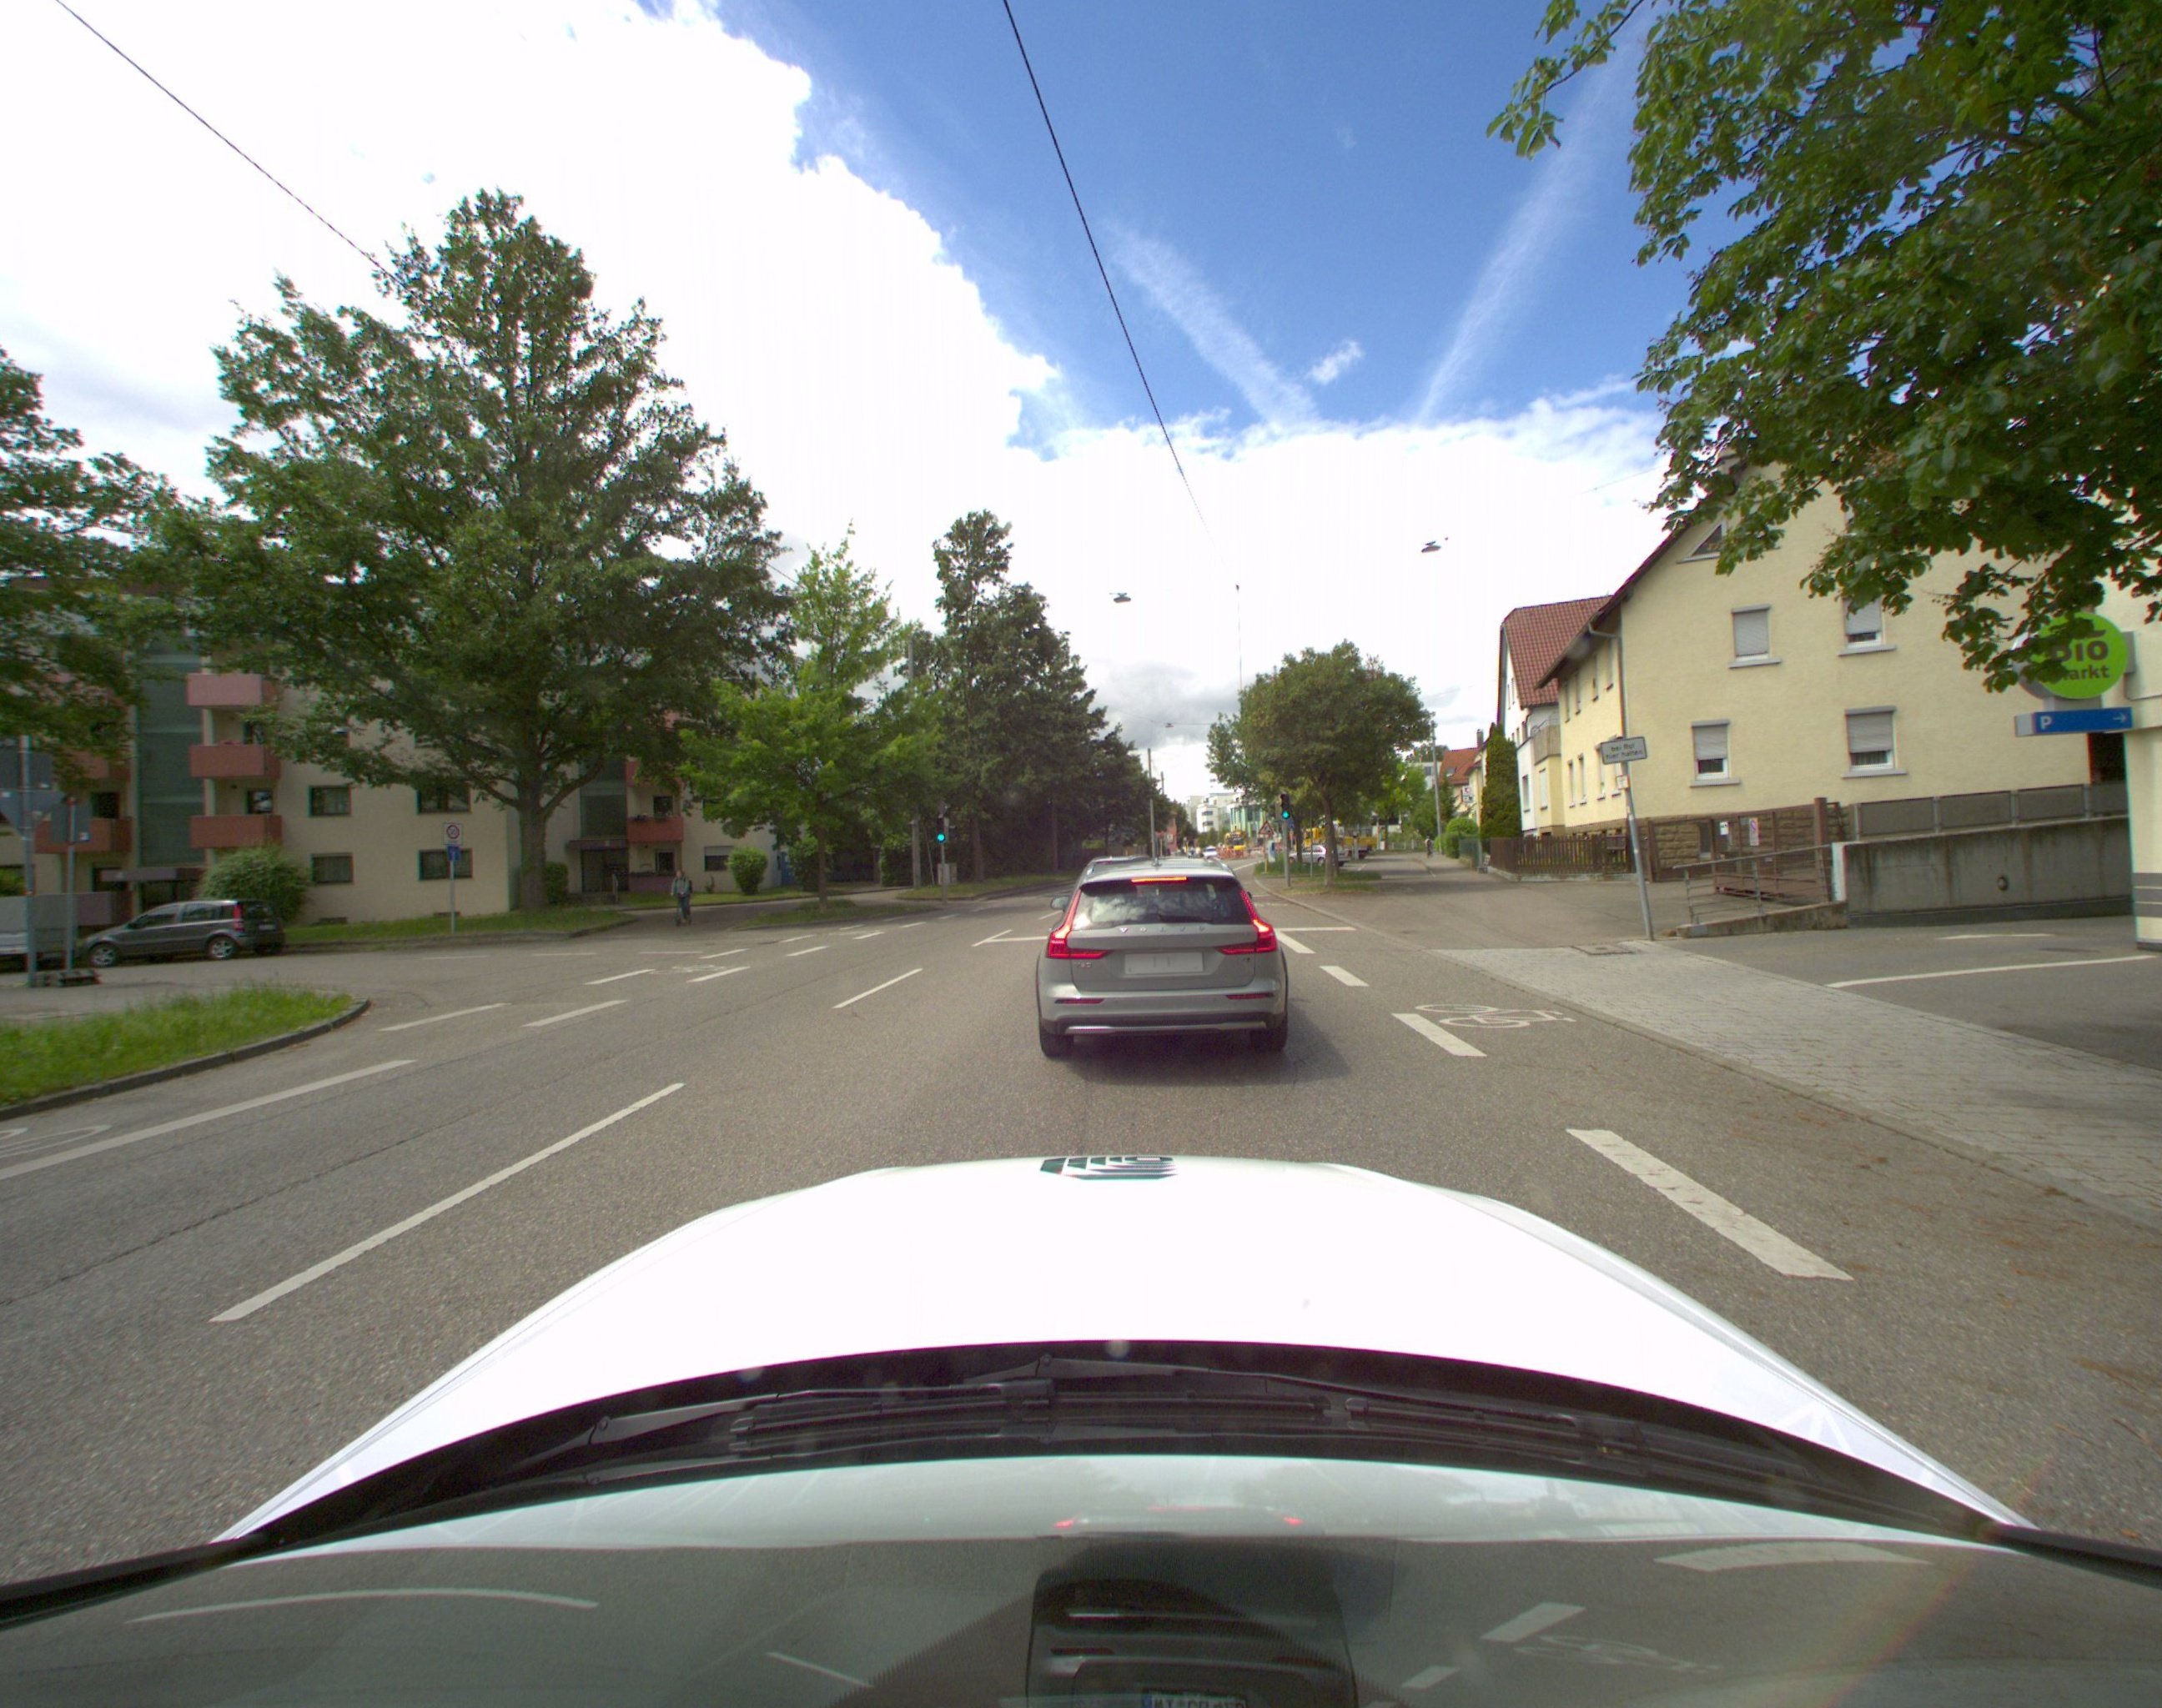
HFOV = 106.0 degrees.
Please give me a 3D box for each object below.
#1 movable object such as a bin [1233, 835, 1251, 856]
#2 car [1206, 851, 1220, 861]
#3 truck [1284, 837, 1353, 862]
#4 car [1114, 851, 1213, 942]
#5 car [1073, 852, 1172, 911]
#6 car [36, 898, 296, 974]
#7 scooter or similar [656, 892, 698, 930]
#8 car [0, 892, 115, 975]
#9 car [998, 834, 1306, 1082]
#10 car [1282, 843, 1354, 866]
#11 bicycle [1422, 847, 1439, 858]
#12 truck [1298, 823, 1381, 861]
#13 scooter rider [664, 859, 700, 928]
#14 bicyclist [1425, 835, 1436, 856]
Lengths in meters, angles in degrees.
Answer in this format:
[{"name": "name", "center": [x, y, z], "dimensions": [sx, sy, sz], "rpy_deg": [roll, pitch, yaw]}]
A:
[{"name": "movable object such as a bin", "center": [21.497, -1.163, 108.833], "dimensions": [2.020, 2.642, 5.962], "rpy_deg": [-3, 0, 13]}, {"name": "car", "center": [18.131, 0.304, 111.814], "dimensions": [1.816, 1.330, 4.012], "rpy_deg": [0, -2, 11]}, {"name": "truck", "center": [19.943, -0.363, 68.682], "dimensions": [2.007, 2.014, 5.619], "rpy_deg": [0, -1, -33]}, {"name": "car", "center": [1.539, 0.729, 15.490], "dimensions": [1.653, 1.508, 3.707], "rpy_deg": [0, -1, 5]}, {"name": "car", "center": [1.275, 0.733, 22.945], "dimensions": [2.088, 1.510, 4.014], "rpy_deg": [-1, -1, 13]}, {"name": "car", "center": [-22.752, 1.998, 20.442], "dimensions": [3.995, 1.452, 1.687], "rpy_deg": [-3, 0, -16]}, {"name": "scooter or similar", "center": [-12.040, 1.680, 24.314], "dimensions": [0.754, 1.083, 0.945], "rpy_deg": [0, -1, 1]}, {"name": "car", "center": [-27.060, 2.072, 19.940], "dimensions": [3.990, 1.844, 1.838], "rpy_deg": [-5, 0, -12]}, {"name": "car", "center": [0.643, 0.668, 7.287], "dimensions": [1.918, 1.540, 4.006], "rpy_deg": [-3, 0, 5]}, {"name": "car", "center": [15.629, 0.044, 54.002], "dimensions": [1.773, 1.451, 4.644], "rpy_deg": [-2, 0, -30]}, {"name": "bicycle", "center": [26.859, -0.095, 62.539], "dimensions": [0.592, 0.812, 1.754], "rpy_deg": [0, 0, 1]}, {"name": "truck", "center": [22.198, -0.954, 70.241], "dimensions": [2.780, 3.008, 6.639], "rpy_deg": [0, -1, -32]}, {"name": "scooter rider", "center": [-11.940, 1.166, 24.389], "dimensions": [0.674, 2.014, 0.794], "rpy_deg": [0, -1, 1]}, {"name": "bicyclist", "center": [26.865, -0.648, 62.554], "dimensions": [0.587, 1.559, 0.567], "rpy_deg": [0, -1, 1]}]
